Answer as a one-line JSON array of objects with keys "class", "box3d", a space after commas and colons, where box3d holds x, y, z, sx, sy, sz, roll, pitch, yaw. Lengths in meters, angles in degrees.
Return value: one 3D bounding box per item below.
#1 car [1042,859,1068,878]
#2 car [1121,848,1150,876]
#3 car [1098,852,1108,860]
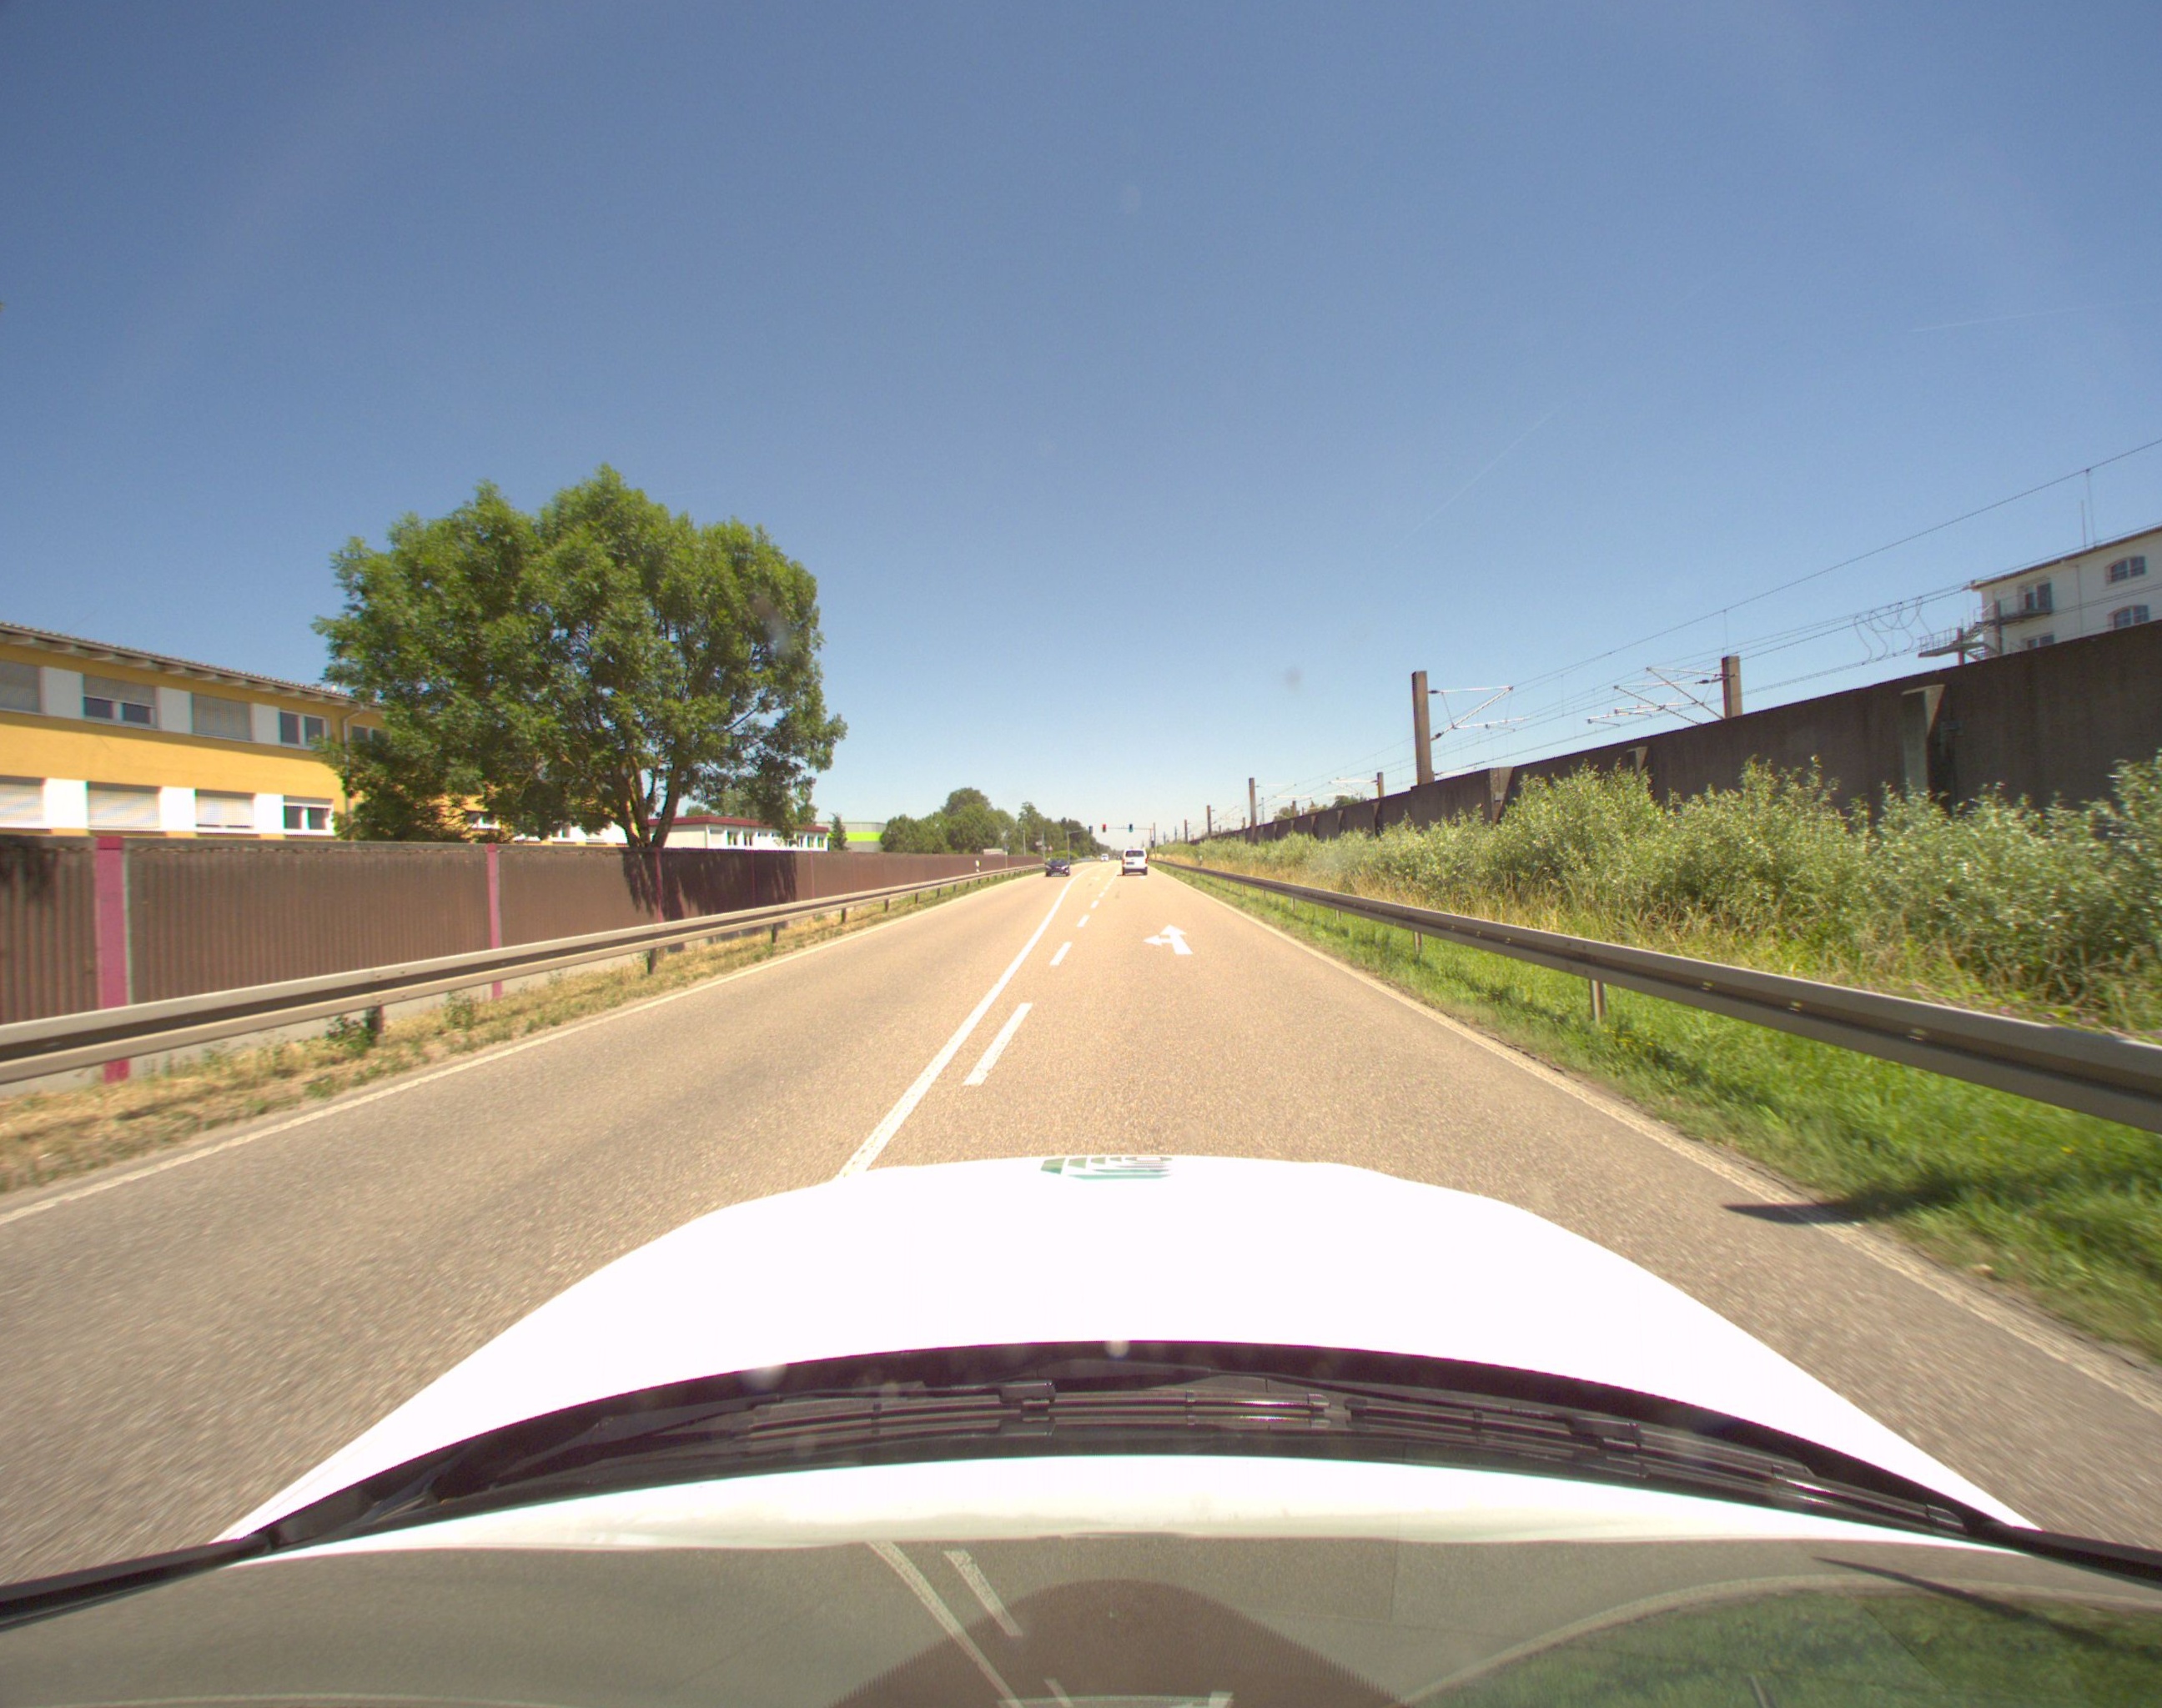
[{"class": "car", "box3d": [-1.948, 1.094, 62.799, 1.839, 1.390, 4.189, -1, 0, 0]}, {"class": "car", "box3d": [4.000, 0.560, 60.393, 1.986, 1.983, 4.061, -1, 0, 2]}, {"class": "car", "box3d": [5.209, 0.550, 195.488, 1.884, 1.740, 4.767, -1, 0, -5]}]
